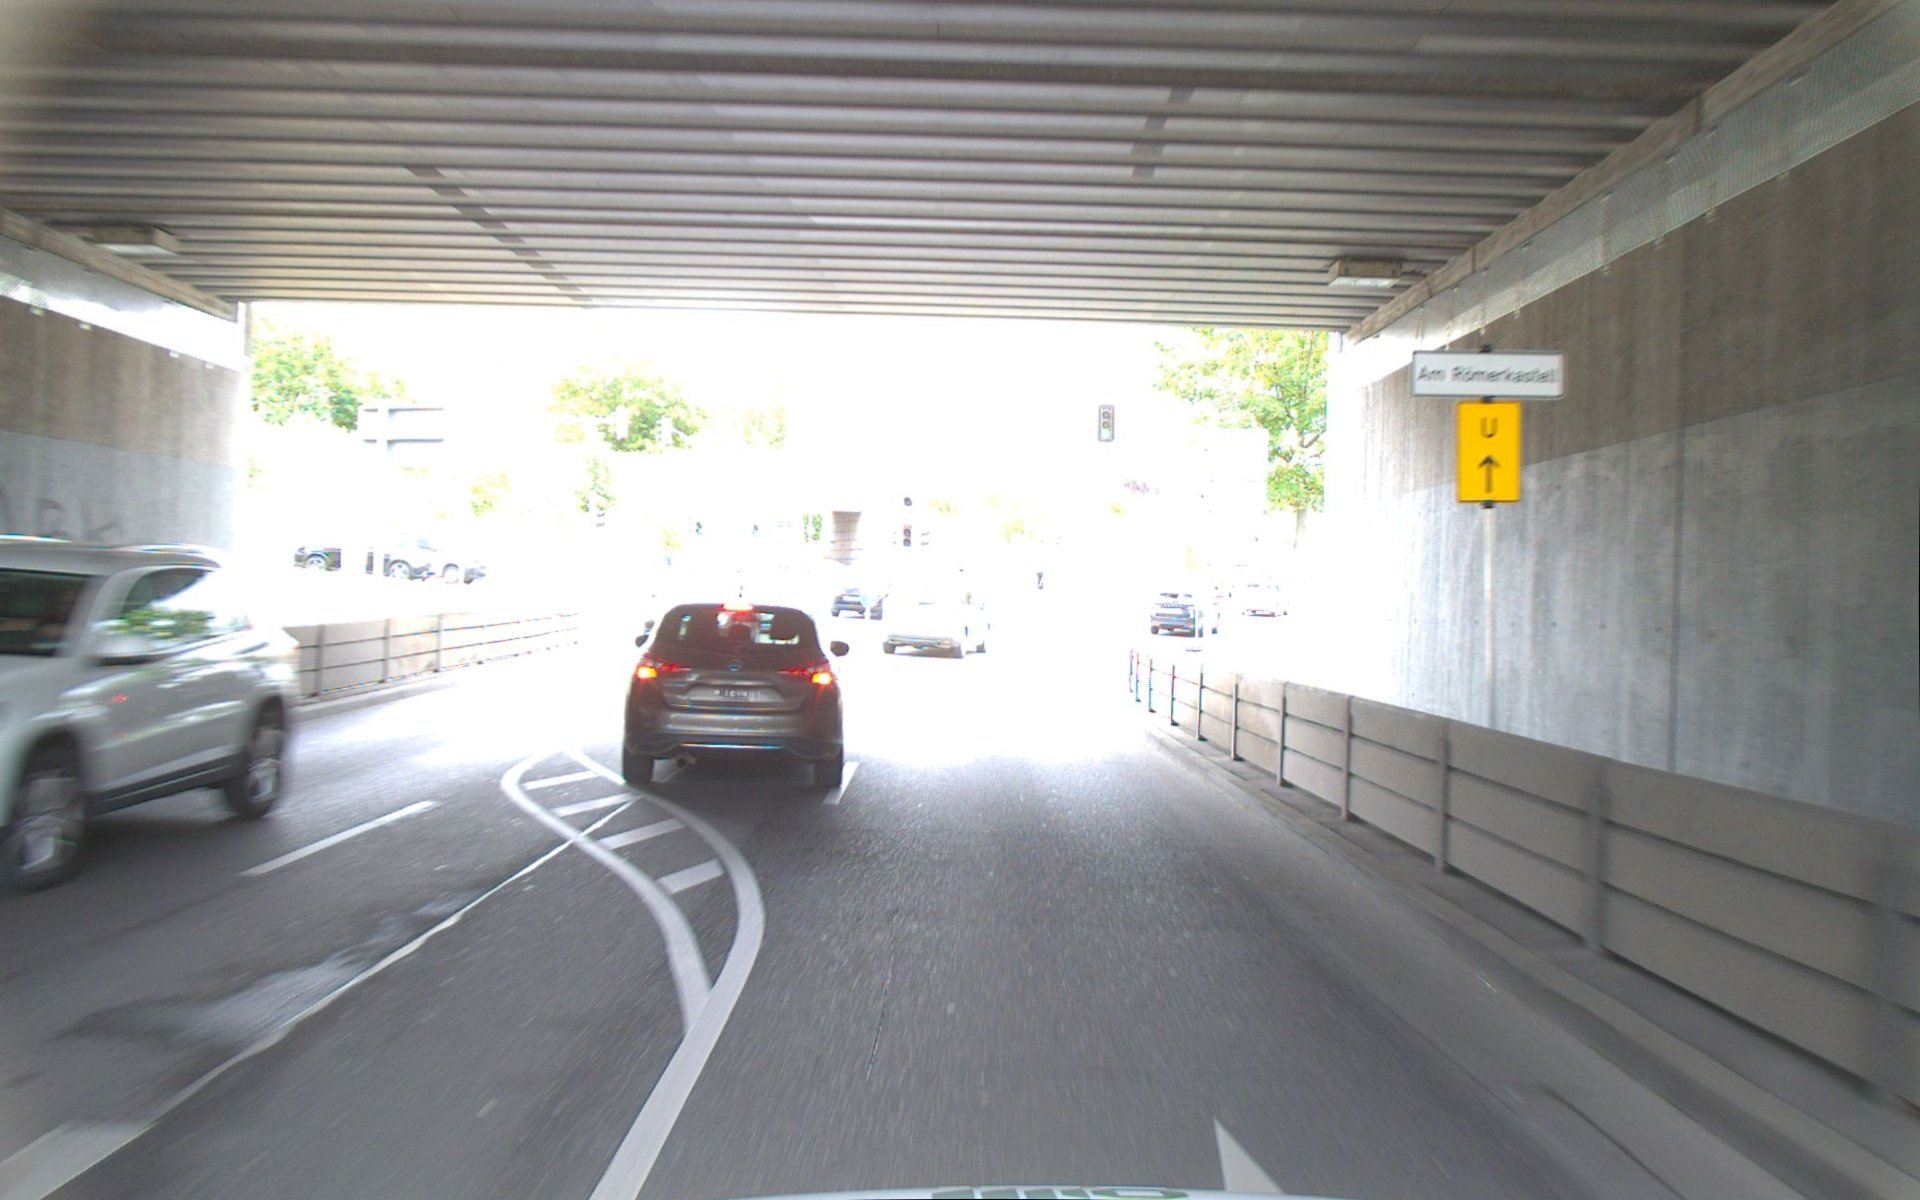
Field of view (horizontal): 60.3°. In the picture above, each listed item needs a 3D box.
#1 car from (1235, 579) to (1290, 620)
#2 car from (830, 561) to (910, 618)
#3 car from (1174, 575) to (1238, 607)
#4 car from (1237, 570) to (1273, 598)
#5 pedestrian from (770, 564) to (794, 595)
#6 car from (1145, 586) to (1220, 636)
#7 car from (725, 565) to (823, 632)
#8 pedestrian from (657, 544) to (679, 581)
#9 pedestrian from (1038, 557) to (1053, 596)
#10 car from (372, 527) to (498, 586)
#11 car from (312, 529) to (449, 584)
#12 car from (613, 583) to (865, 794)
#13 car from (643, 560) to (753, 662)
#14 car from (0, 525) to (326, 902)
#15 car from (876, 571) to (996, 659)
[{"bbox_3d":[12.970,-0.024,70.746,1.951,1.646,4.003,2,1,15],"label":"car"},{"bbox_3d":[-2.885,-0.352,53.865,1.951,1.727,4.170,2,1,5],"label":"car"},{"bbox_3d":[13.071,-0.466,87.599,1.809,1.479,3.990,6,3,32],"label":"car"},{"bbox_3d":[16.689,-0.872,93.525,1.139,1.389,2.500,6,1,29],"label":"car"},{"bbox_3d":[-7.537,-0.871,70.079,0.893,1.245,0.728,5,1,-9],"label":"pedestrian"},{"bbox_3d":[7.295,0.336,53.845,1.860,1.492,4.003,3,1,15],"label":"car"},{"bbox_3d":[-4.824,-0.066,43.369,1.726,1.619,4.003,2,1,5],"label":"car"},{"bbox_3d":[-13.135,-1.690,74.407,0.935,1.641,0.698,2,1,-10],"label":"pedestrian"},{"bbox_3d":[4.314,-1.189,83.482,0.593,1.895,0.596,2,1,-10],"label":"pedestrian"},{"bbox_3d":[-19.039,-1.560,60.080,3.907,1.981,1.999,2,1,-3],"label":"car"},{"bbox_3d":[-19.654,-1.473,56.173,3.904,1.623,1.873,3,1,4],"label":"car"},{"bbox_3d":[-1.892,0.651,14.353,1.810,1.519,3.994,2,0,-7],"label":"car"},{"bbox_3d":[-4.992,0.155,31.888,1.653,1.737,3.787,3,2,-4],"label":"car"},{"bbox_3d":[-5.156,0.471,9.037,1.747,1.689,4.108,2,0,0],"label":"car"},{"bbox_3d":[-0.470,0.304,36.700,1.791,1.735,3.872,3,1,11],"label":"car"}]
